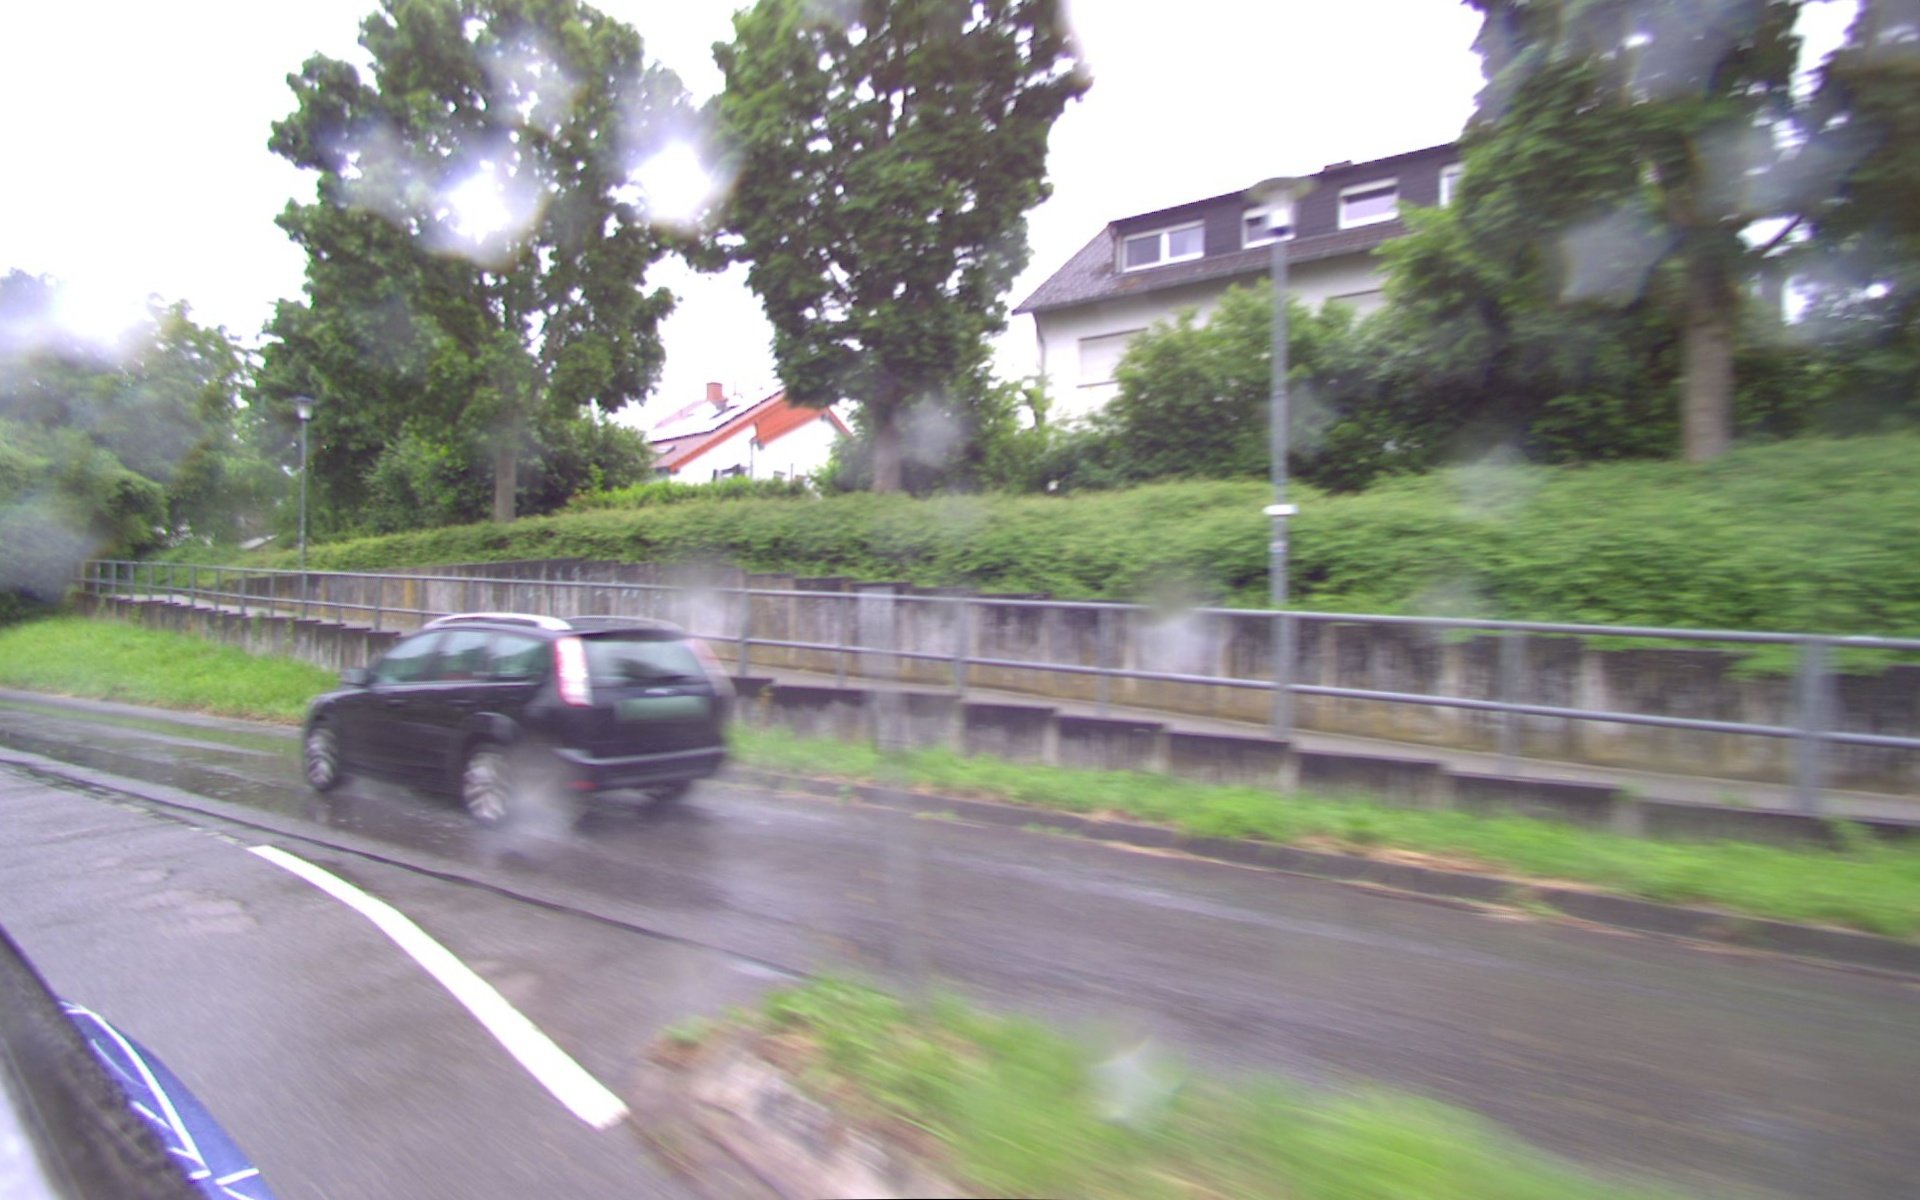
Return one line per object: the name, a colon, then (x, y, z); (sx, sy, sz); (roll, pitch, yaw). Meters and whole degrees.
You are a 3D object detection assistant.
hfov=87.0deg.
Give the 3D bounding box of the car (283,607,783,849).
car: (-3.574, 0.853, 8.241); (4.130, 1.514, 1.746); (0, -3, 34)
